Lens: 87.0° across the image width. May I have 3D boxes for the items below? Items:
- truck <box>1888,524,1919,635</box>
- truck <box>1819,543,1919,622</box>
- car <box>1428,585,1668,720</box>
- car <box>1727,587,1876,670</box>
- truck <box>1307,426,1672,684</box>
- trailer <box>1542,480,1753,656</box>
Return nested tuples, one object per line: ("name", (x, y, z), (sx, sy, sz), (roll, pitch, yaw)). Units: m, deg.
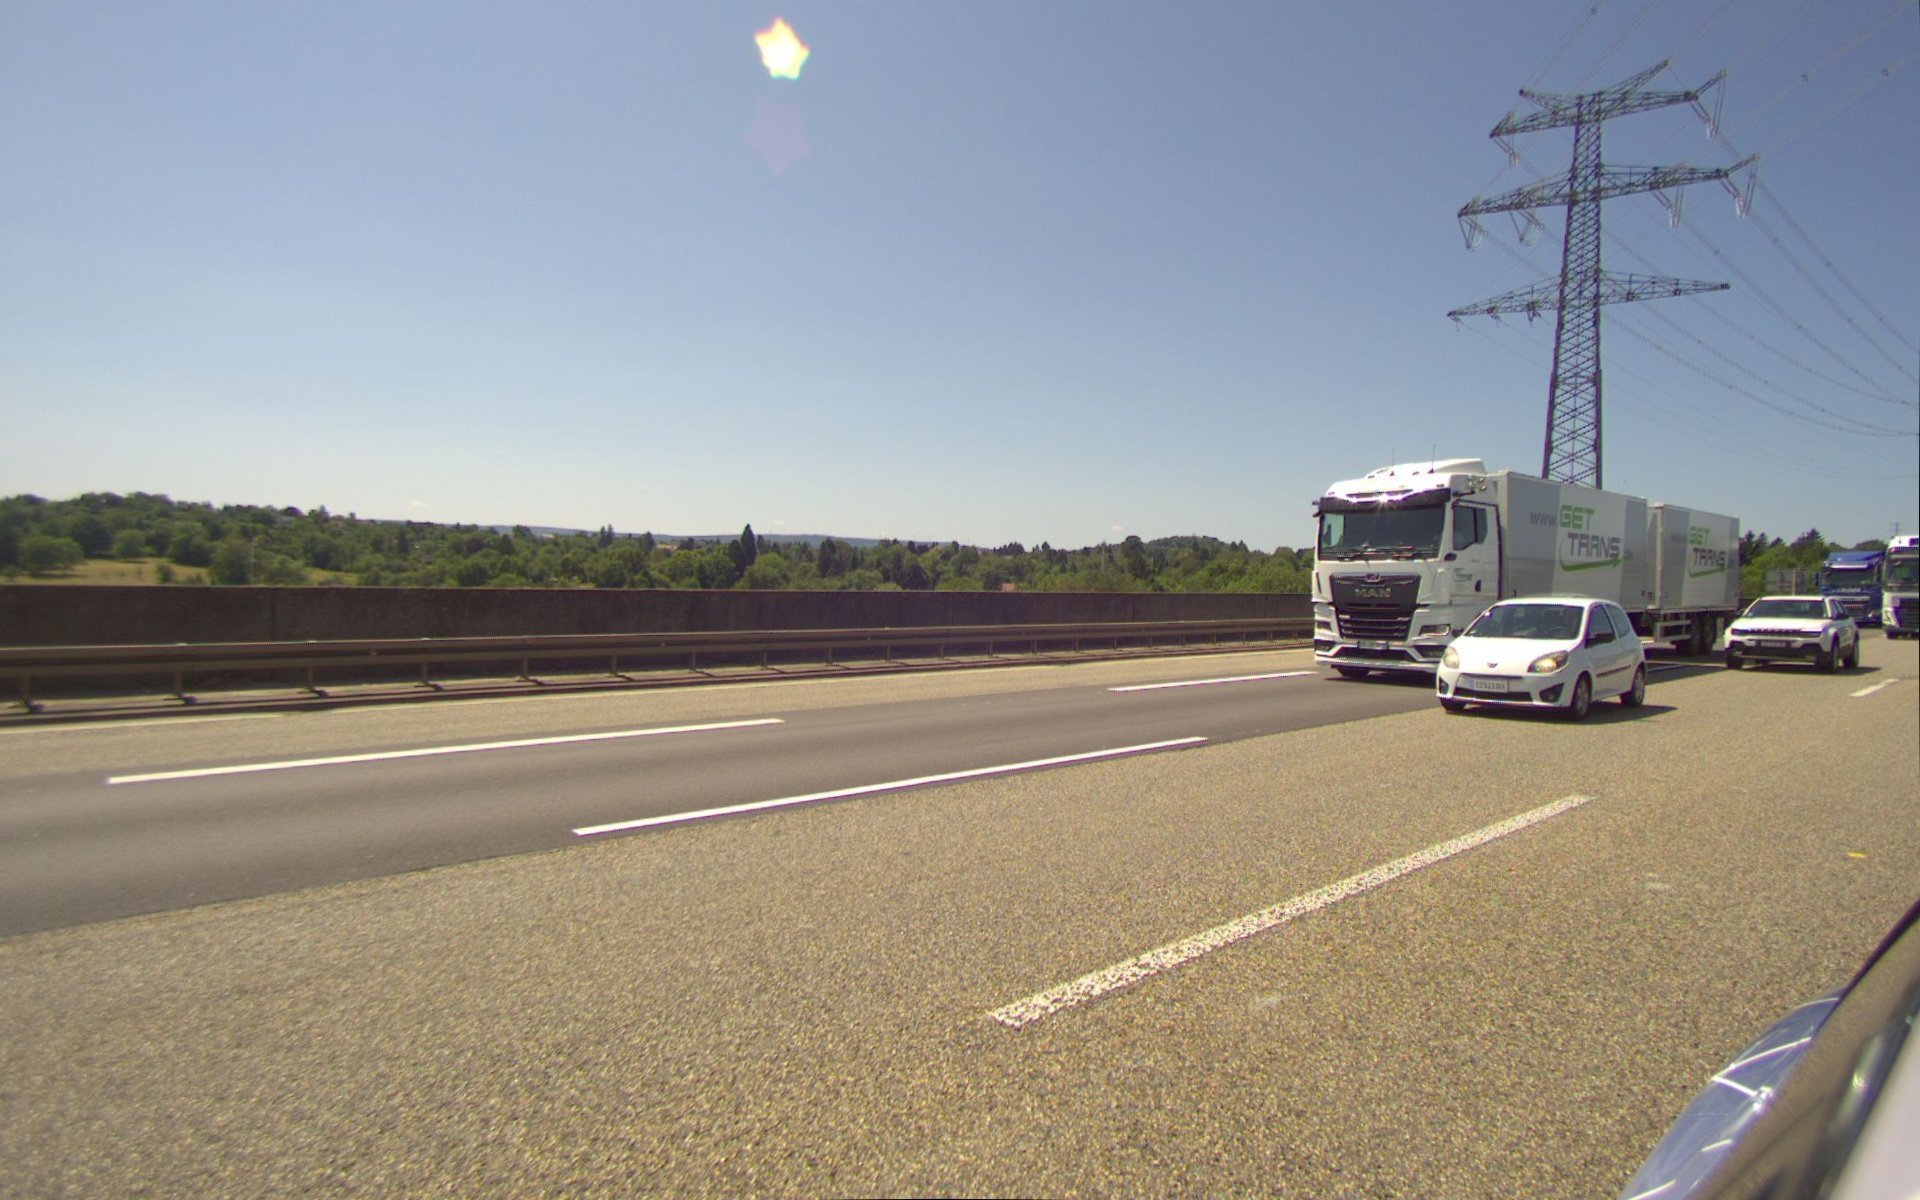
("truck", (40.733, -0.746, 41.176), (14.004, 4.090, 2.716), (0, 0, -41))
("truck", (49.171, -0.931, 54.526), (11.079, 3.929, 2.838), (-1, 0, -42))
("car", (7.800, 0.591, 13.297), (3.760, 1.529, 1.657), (0, 0, -42))
("car", (17.613, 0.527, 21.139), (3.784, 1.549, 1.775), (-1, 0, -40))
("truck", (11.082, -0.712, 20.274), (11.101, 3.980, 2.693), (0, 0, -41))
("trailer", (18.153, -0.734, 26.501), (7.638, 3.991, 2.749), (0, 0, -41))
